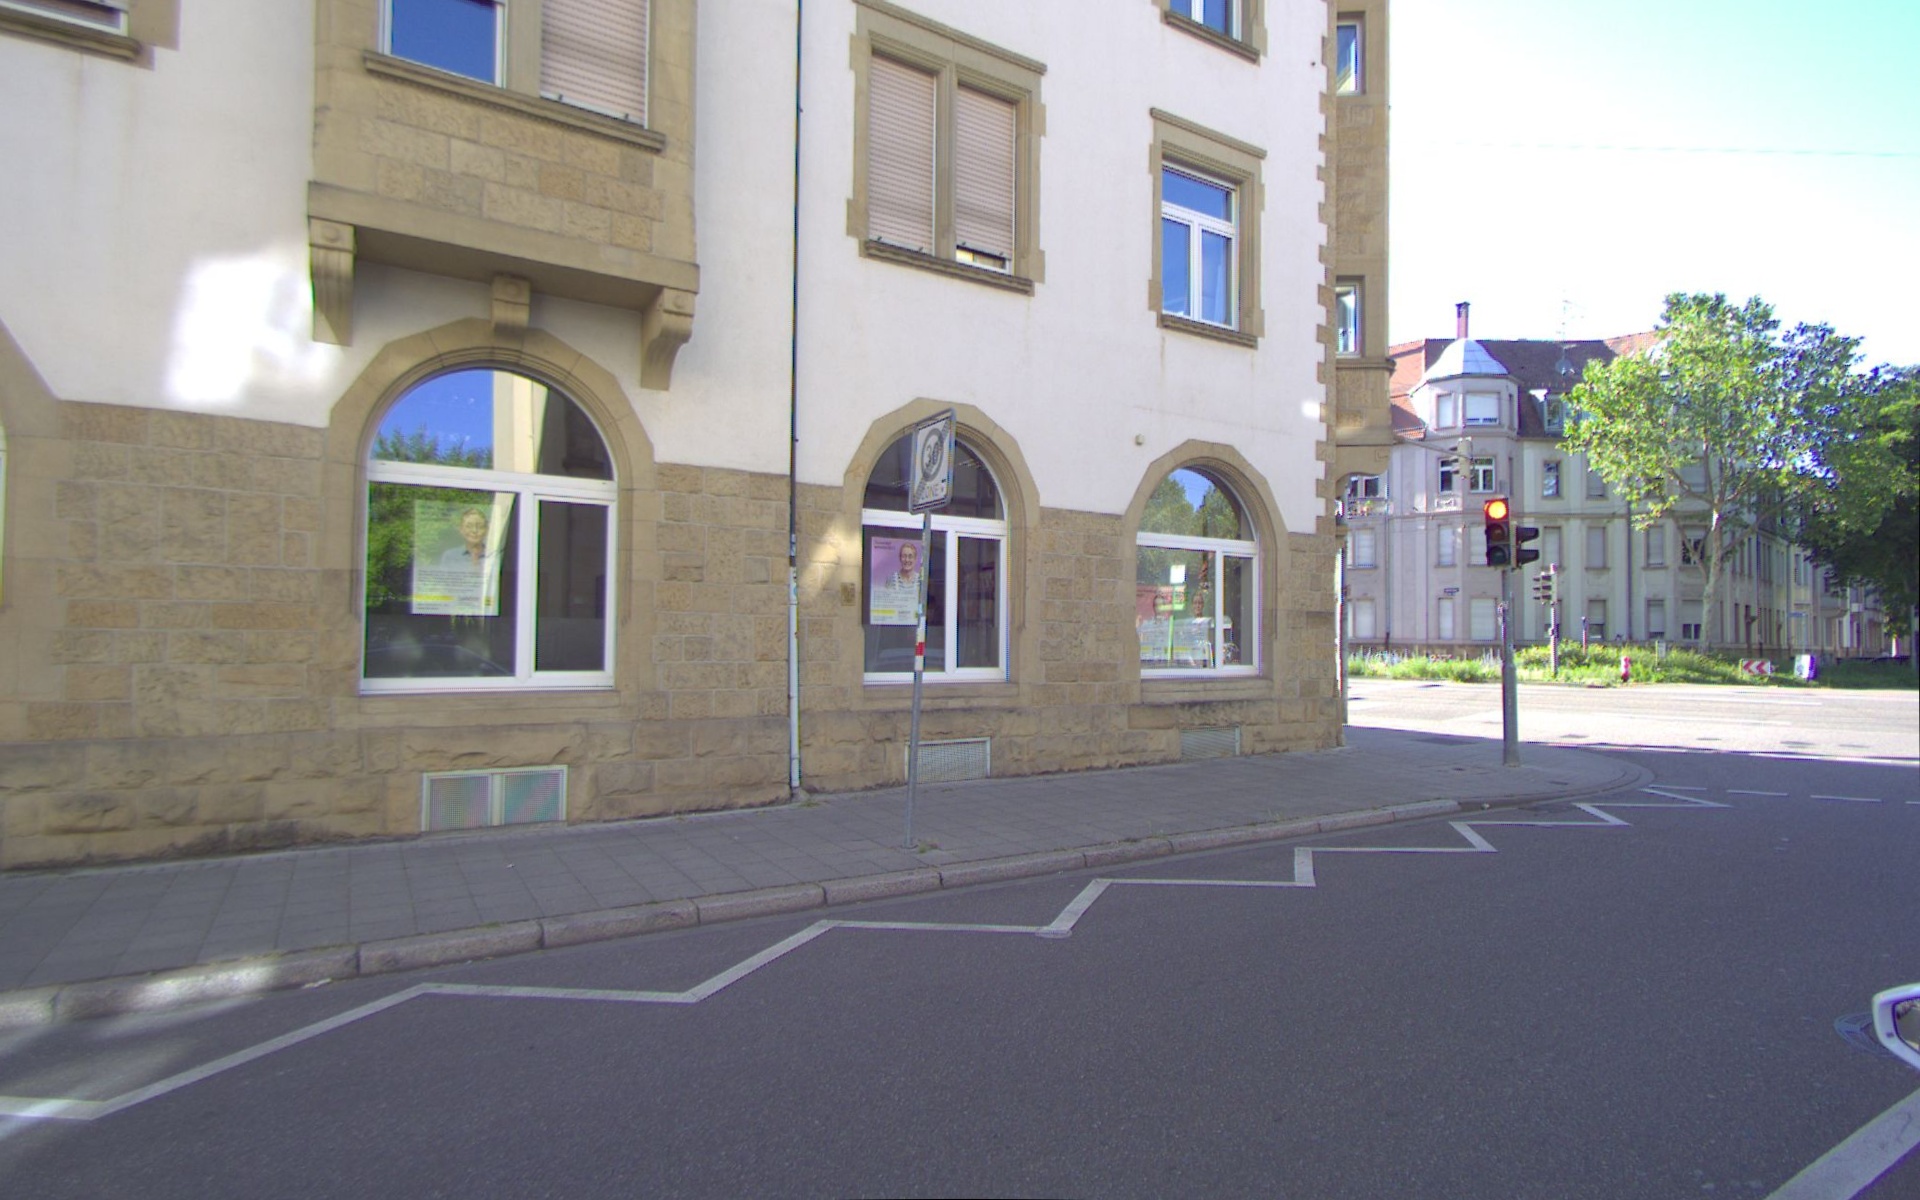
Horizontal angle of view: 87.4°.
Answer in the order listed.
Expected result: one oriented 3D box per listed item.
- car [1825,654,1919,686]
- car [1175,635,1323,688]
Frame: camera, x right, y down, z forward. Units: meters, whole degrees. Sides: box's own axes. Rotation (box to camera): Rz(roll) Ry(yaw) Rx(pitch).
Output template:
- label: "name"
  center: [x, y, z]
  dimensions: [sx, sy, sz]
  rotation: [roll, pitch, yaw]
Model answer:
- label: "car"
  center: [45.855, 3.488, 50.170]
  dimensions: [3.943, 1.505, 1.673]
  rotation: [-2, -3, 42]
- label: "car"
  center: [8.803, 1.847, 30.773]
  dimensions: [3.944, 1.336, 1.812]
  rotation: [2, -1, 43]
